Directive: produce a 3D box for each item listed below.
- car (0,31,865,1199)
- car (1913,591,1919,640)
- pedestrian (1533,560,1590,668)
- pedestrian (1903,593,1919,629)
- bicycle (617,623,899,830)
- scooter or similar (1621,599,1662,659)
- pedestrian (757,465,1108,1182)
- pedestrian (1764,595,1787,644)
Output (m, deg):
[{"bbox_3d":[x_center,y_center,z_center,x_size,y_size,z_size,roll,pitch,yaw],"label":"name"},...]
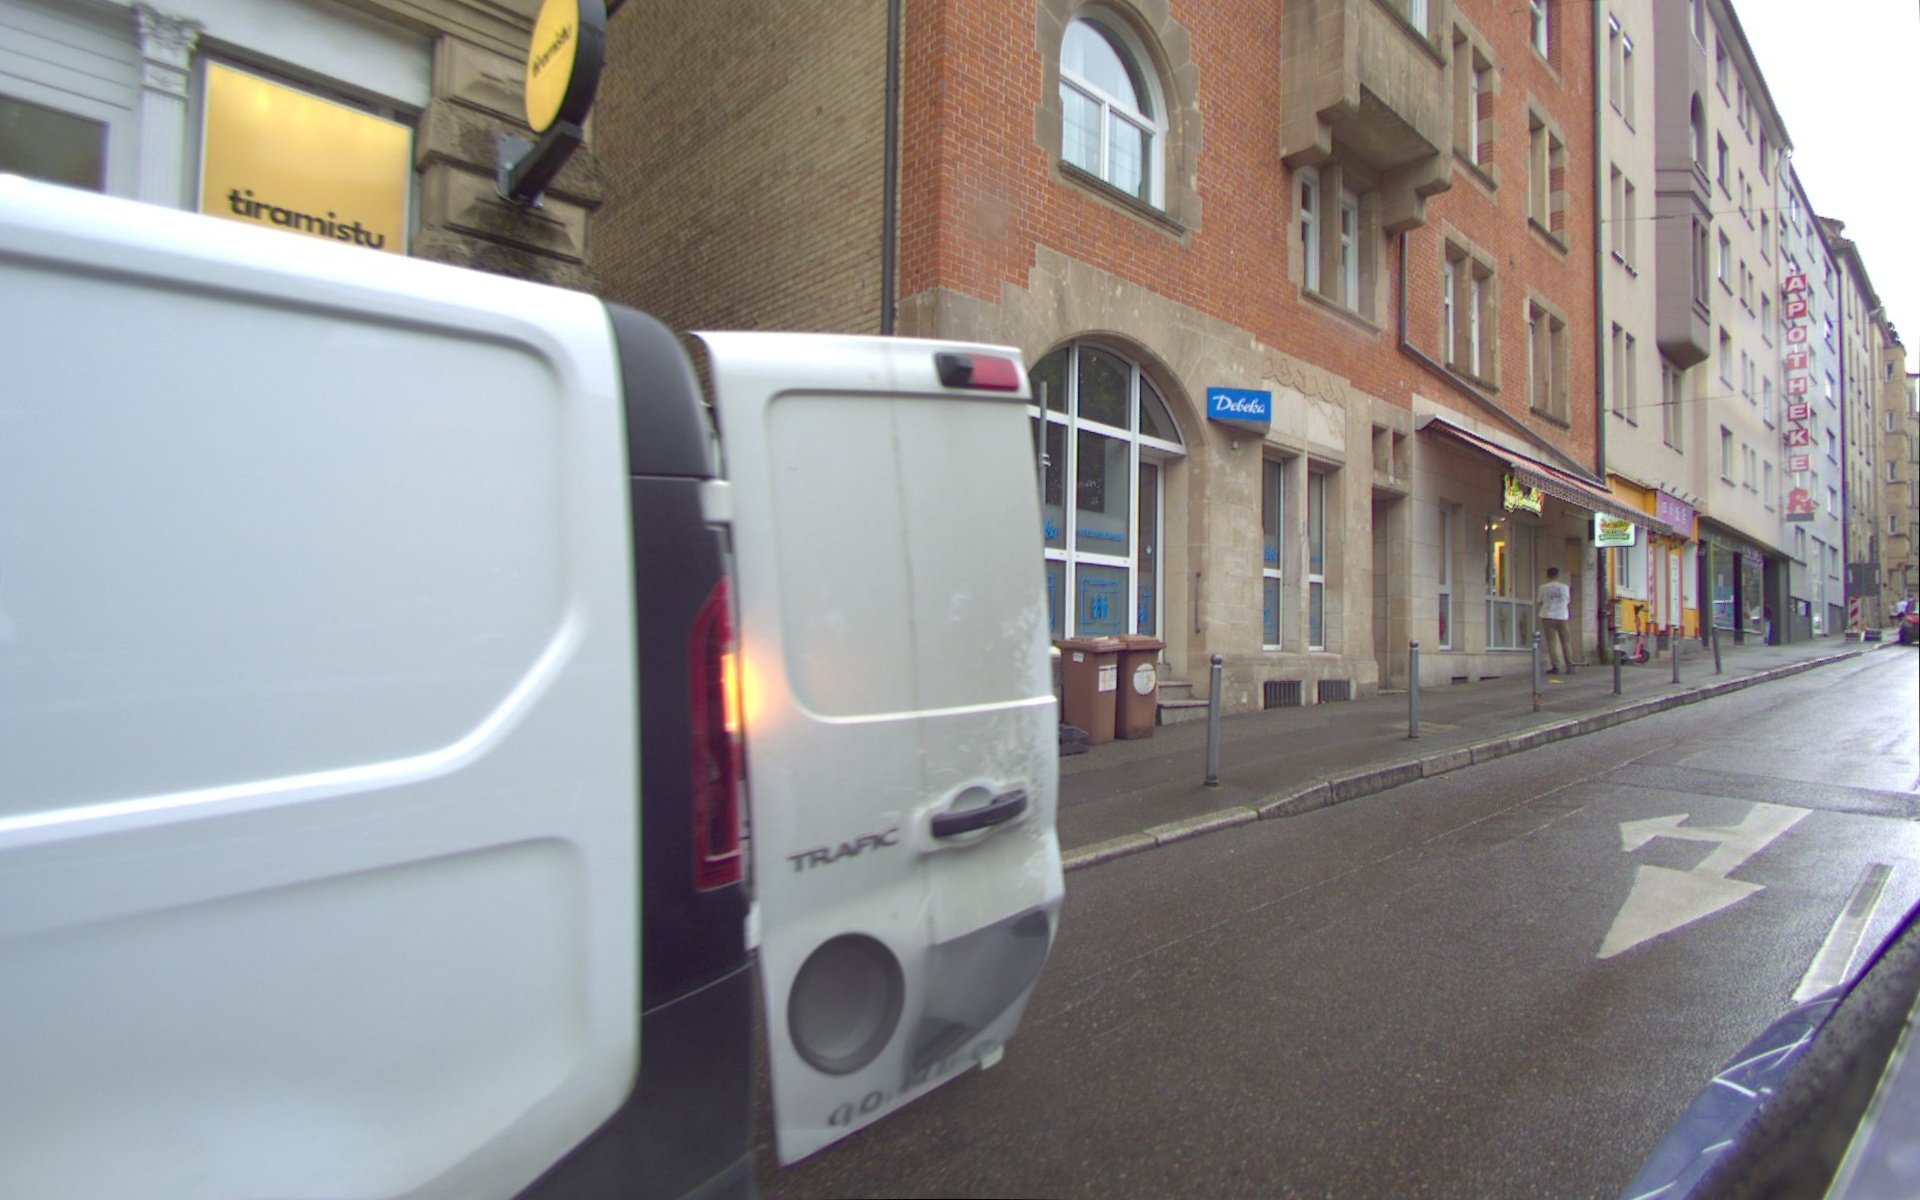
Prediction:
[{"bbox_3d":[-2.500,0.431,0.853,4.604,1.960,1.923,0,-1,-42],"label":"car"},{"bbox_3d":[38.711,0.597,39.536,5.160,1.861,1.976,0,0,-45],"label":"car"},{"bbox_3d":[10.616,0.239,17.871,0.568,1.852,0.564,2,2,-1],"label":"pedestrian"},{"bbox_3d":[47.476,0.531,50.264,0.823,1.780,0.852,1,-2,-42],"label":"pedestrian"},{"bbox_3d":[-1.237,0.726,6.185,1.665,1.129,0.462,1,0,16],"label":"bicycle"},{"bbox_3d":[14.180,0.603,21.045,1.171,1.238,0.258,2,-2,-33],"label":"scooter or similar"},{"bbox_3d":[-0.100,0.547,3.047,0.675,1.776,0.835,0,0,-41],"label":"pedestrian"},{"bbox_3d":[27.759,0.665,34.452,0.476,1.666,0.329,-1,-2,19],"label":"pedestrian"}]
